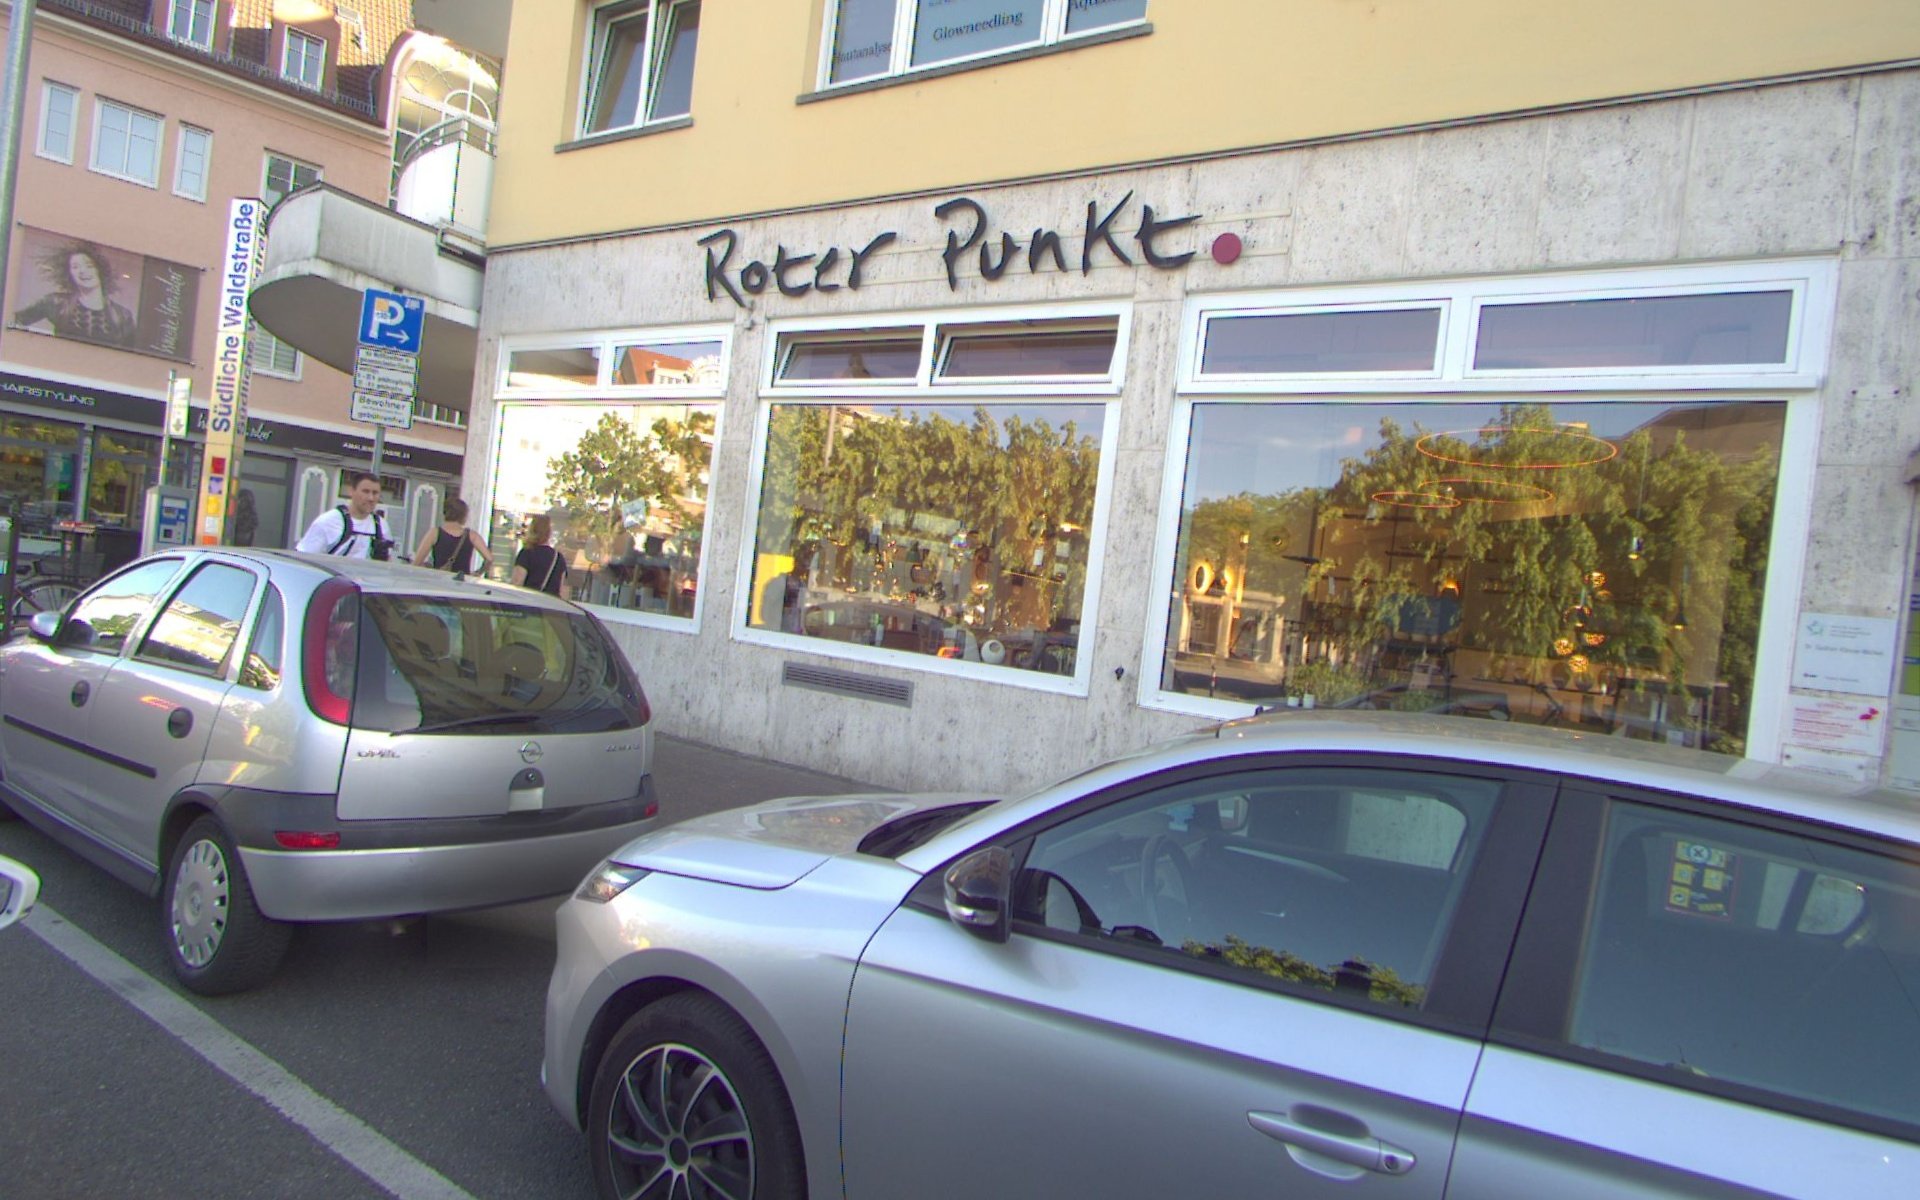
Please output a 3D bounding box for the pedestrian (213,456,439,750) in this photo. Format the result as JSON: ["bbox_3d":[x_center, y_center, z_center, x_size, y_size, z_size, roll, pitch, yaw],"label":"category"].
[{"bbox_3d":[-4.332,0.023,6.890,0.967,1.844,0.809,6,-1,35],"label":"pedestrian"}]

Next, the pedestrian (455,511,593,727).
[{"bbox_3d":[-3.841,0.157,8.869,0.775,1.777,0.721,6,2,36],"label":"pedestrian"}]

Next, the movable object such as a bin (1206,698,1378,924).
[{"bbox_3d":[1.821,1.099,5.476,0.639,1.035,0.738,6,-1,31],"label":"movable object such as a bin"}]

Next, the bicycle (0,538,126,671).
[{"bbox_3d":[-8.169,0.005,8.253,0.642,1.057,1.884,7,0,33],"label":"bicycle"}]

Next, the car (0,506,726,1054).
[{"bbox_3d":[-2.961,0.486,4.461,3.520,1.443,1.587,6,-2,32],"label":"car"}]

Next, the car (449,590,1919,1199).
[{"bbox_3d":[0.776,0.946,2.281,3.624,1.453,1.587,6,-2,30],"label":"car"}]

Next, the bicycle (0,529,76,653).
[{"bbox_3d":[-9.060,-0.149,8.798,0.642,1.072,1.816,7,-1,33],"label":"bicycle"}]

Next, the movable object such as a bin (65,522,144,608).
[{"bbox_3d":[-11.960,-0.487,14.065,0.716,1.117,0.636,7,2,35],"label":"movable object such as a bin"}]

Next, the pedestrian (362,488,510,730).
[{"bbox_3d":[-4.352,0.056,8.349,0.880,1.874,0.680,6,3,36],"label":"pedestrian"}]

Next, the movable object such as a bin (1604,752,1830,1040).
[{"bbox_3d":[3.369,1.268,4.546,0.639,1.035,0.738,6,-1,31],"label":"movable object such as a bin"}]
